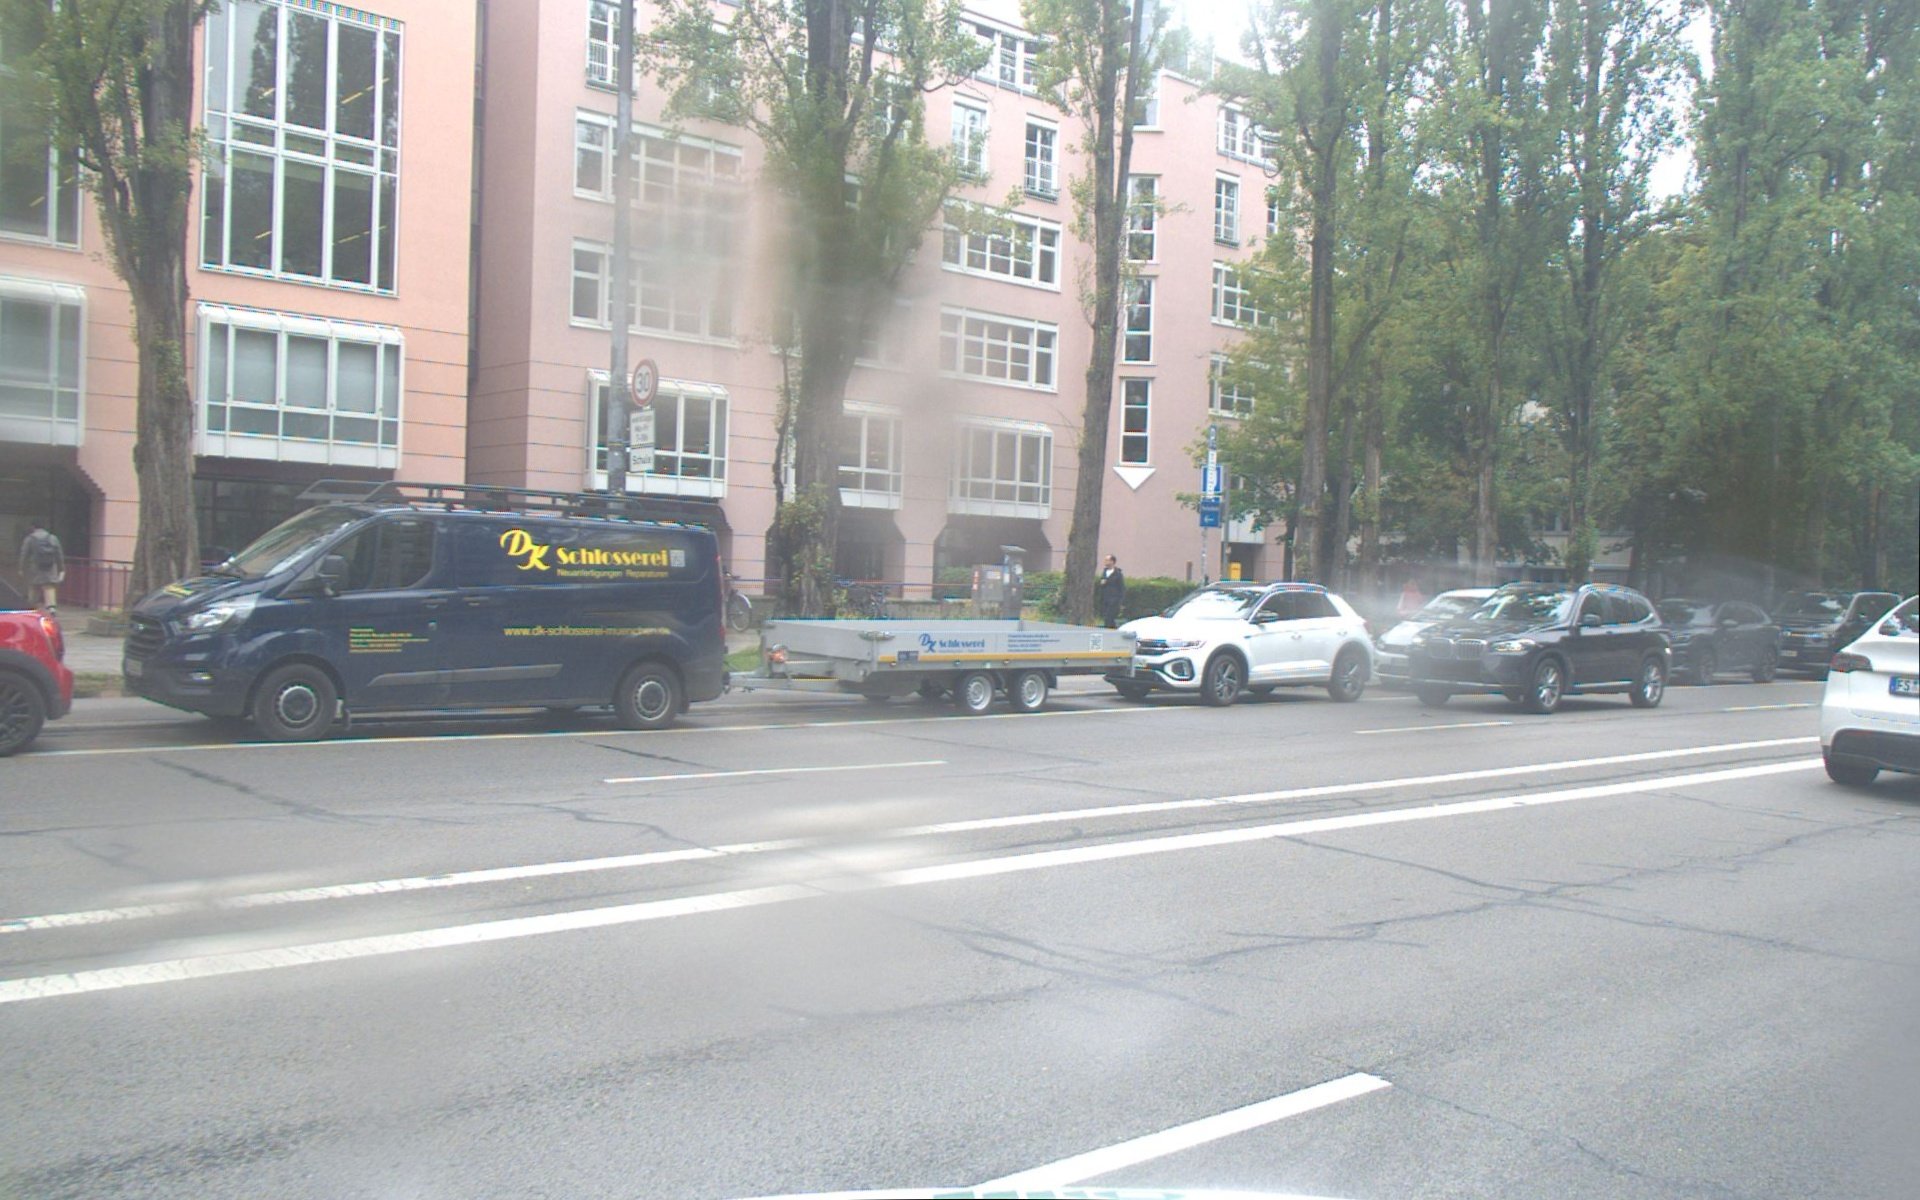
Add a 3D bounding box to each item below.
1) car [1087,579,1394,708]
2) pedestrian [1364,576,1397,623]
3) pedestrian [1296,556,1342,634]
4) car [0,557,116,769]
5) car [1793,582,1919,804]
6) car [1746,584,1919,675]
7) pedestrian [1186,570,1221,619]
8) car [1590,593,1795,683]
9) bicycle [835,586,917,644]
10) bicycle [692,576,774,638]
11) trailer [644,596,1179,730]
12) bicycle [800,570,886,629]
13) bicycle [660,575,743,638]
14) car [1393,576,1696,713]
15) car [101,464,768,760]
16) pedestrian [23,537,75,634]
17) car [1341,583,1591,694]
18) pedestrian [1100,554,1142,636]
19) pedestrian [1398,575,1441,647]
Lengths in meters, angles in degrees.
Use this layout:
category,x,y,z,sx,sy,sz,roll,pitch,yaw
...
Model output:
category,x,y,z,sx,sy,sz,roll,pitch,yaw
car,3.818,0.534,22.147,4.193,1.569,1.781,0,0,-40
pedestrian,15.784,-0.018,62.074,0.889,1.691,0.805,1,1,-40
pedestrian,8.212,-0.121,37.841,0.725,1.743,0.699,1,1,-40
car,-8.179,0.412,11.533,3.835,1.474,1.655,1,1,-39
car,8.918,0.739,13.757,4.598,1.602,1.970,1,3,-42
car,19.299,0.625,36.360,4.721,1.828,1.970,1,1,-42
pedestrian,8.642,-0.196,58.786,0.889,1.691,0.805,1,1,-40
car,14.220,0.700,32.026,4.285,1.568,1.971,1,1,-41
bicycle,-1.788,0.310,35.075,0.670,1.144,1.960,1,2,-40
bicycle,-4.522,0.131,32.861,0.670,1.144,1.960,1,2,-40
trailer,-0.391,0.639,18.916,5.983,1.220,2.370,1,1,-41
bicycle,-2.454,-0.019,34.454,0.670,1.144,2.076,1,2,-40
bicycle,-5.067,0.115,32.338,0.670,1.144,1.960,1,2,-40
car,8.053,0.543,22.585,4.510,1.671,1.970,0,1,-41
car,-4.577,0.087,15.063,5.448,2.235,1.994,1,1,-42
pedestrian,-16.693,-0.271,30.296,0.702,1.743,0.722,1,1,-38
car,8.123,0.567,26.357,4.291,1.568,1.968,1,1,-44
pedestrian,3.248,-0.109,33.391,0.647,1.632,0.555,1,1,-21
pedestrian,11.413,0.275,41.101,0.725,1.743,0.699,1,1,-40
